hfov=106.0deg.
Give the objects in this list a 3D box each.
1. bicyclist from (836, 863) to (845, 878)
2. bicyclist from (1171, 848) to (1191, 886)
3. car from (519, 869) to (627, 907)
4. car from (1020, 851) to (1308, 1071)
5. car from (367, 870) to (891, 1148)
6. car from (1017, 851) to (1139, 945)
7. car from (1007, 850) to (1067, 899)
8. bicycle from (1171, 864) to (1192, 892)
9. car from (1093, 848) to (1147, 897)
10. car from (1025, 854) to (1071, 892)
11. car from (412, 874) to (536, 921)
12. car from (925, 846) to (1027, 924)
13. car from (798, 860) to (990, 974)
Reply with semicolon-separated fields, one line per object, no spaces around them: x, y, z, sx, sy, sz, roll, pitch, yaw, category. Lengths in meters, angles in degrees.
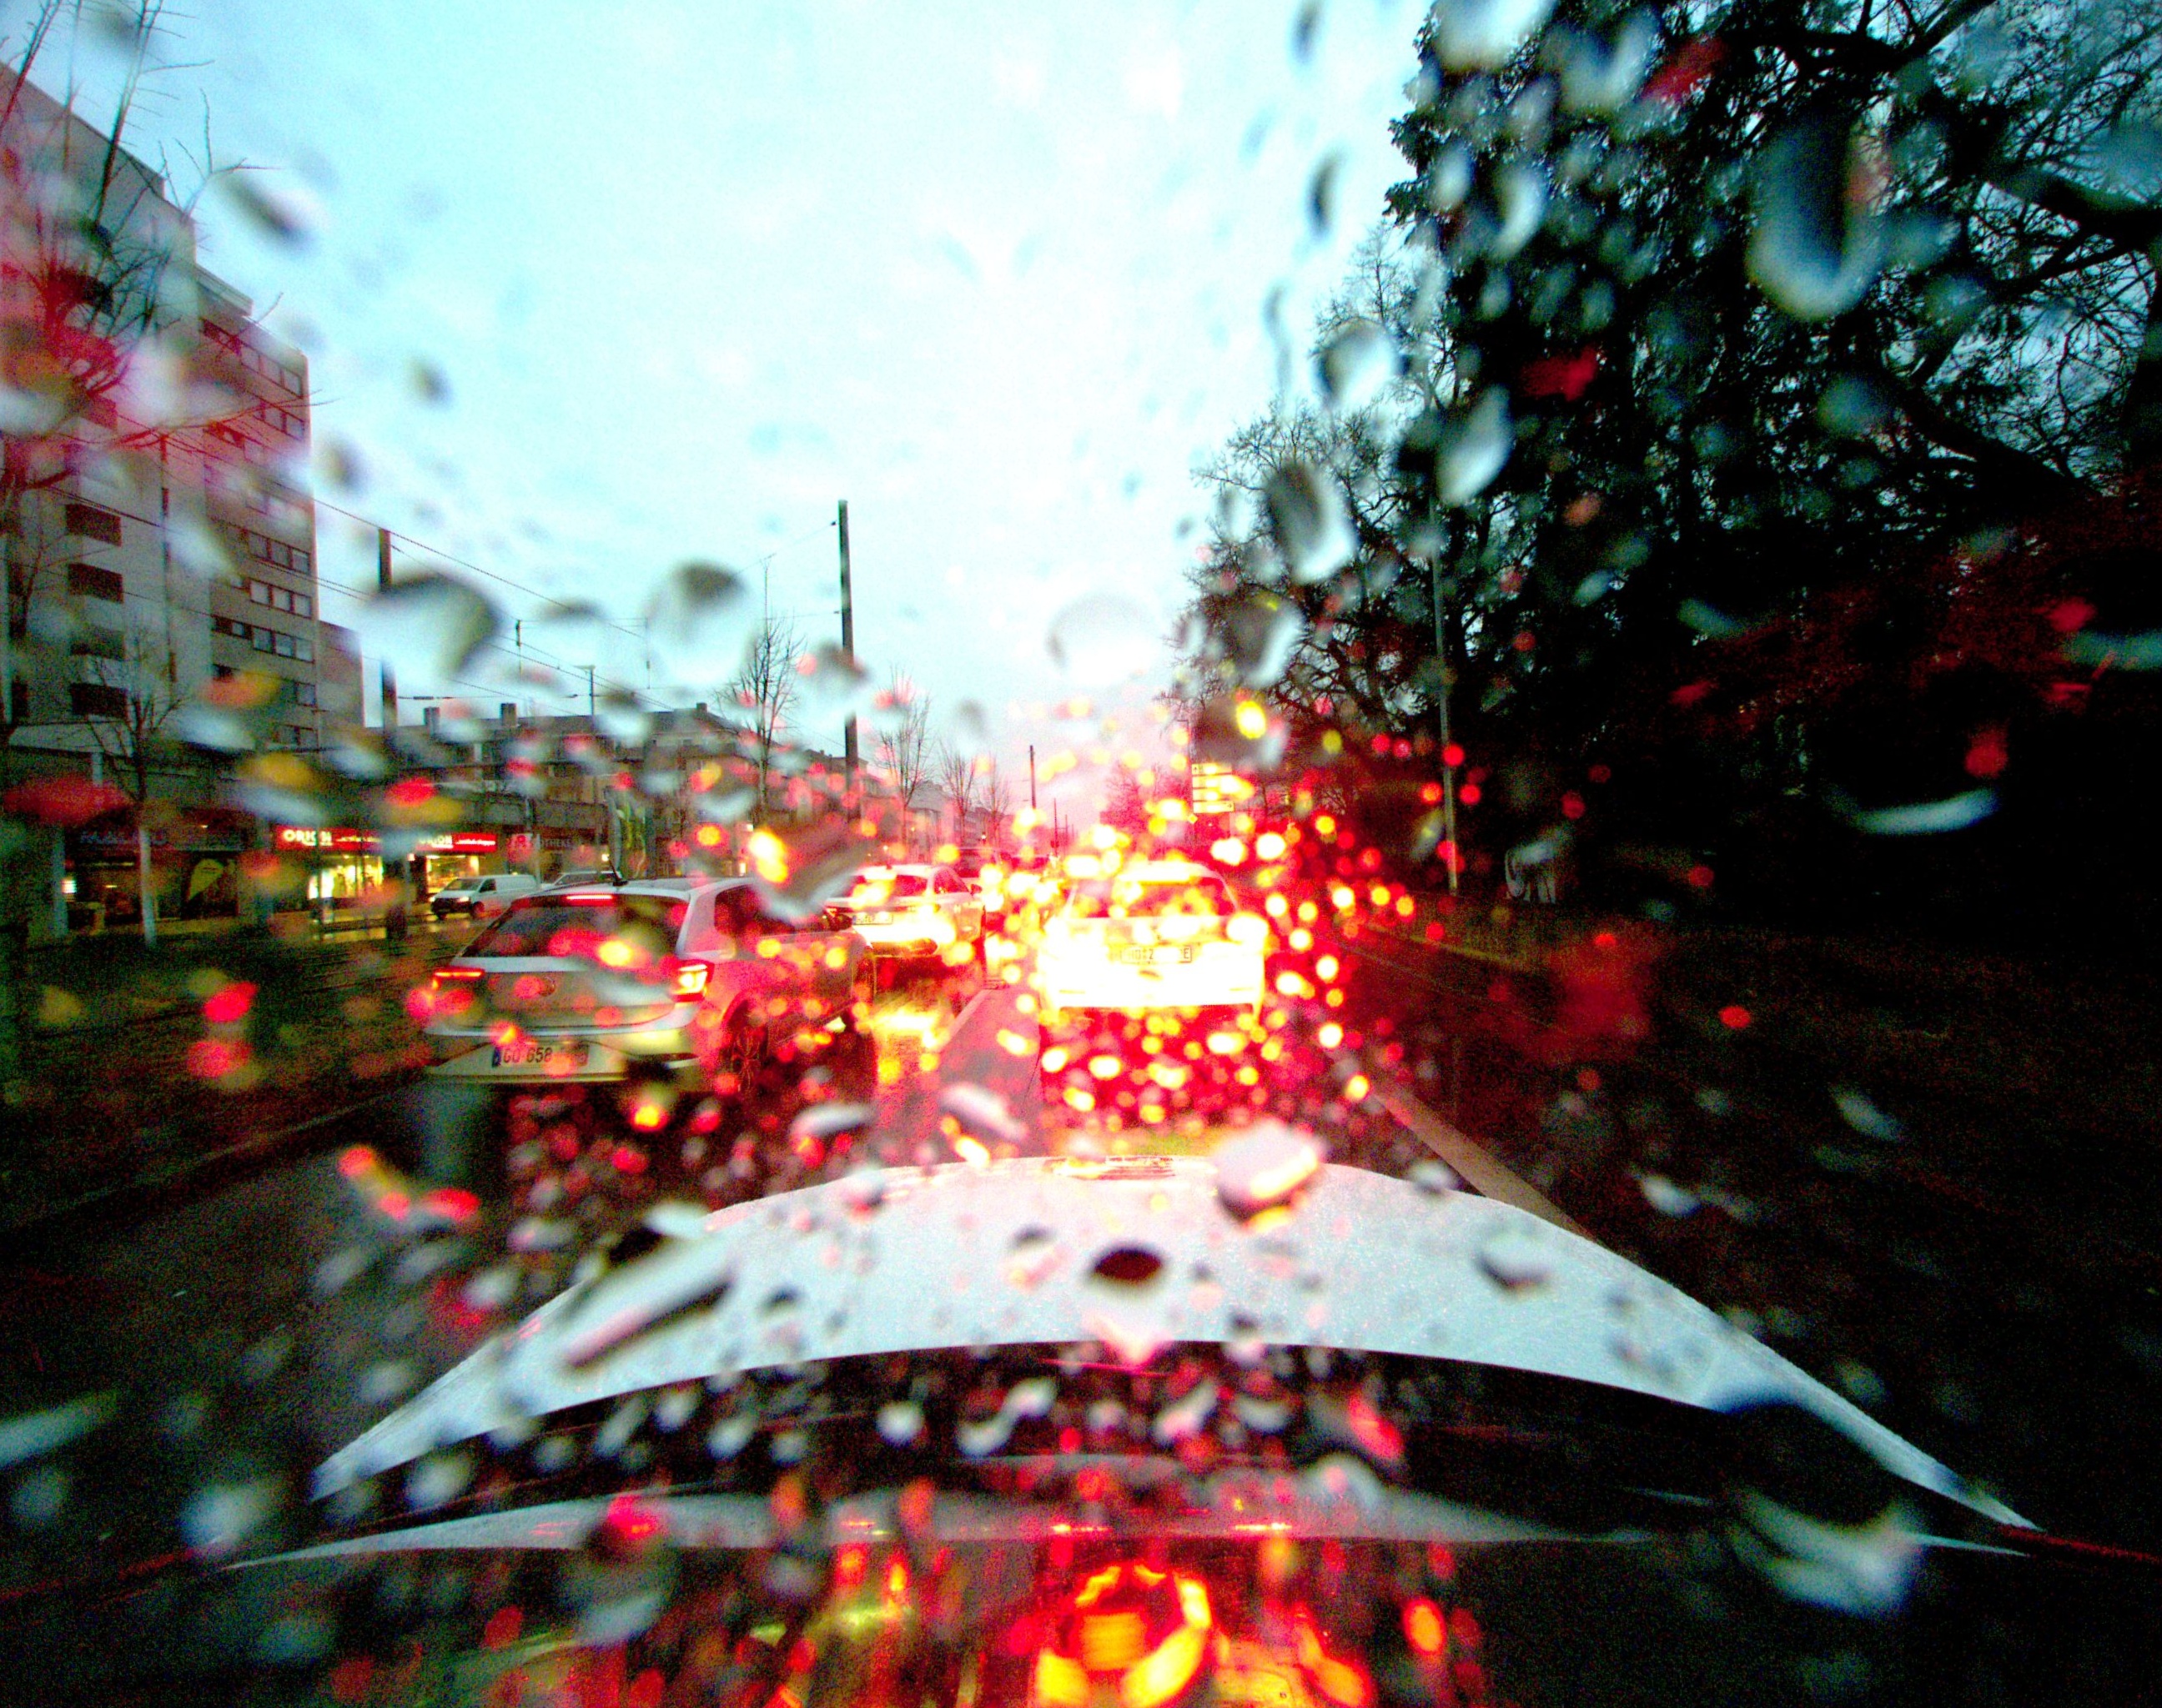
-26.060;1.754;88.227;0.793;1.579;0.631;-1;-1;-31;bicyclist
3.781;0.468;30.749;0.642;1.389;0.891;-2;0;4;bicyclist
-30.729;2.013;49.369;5.193;1.912;1.975;-3;0;-44;car
0.648;0.753;7.833;1.992;1.508;4.165;-1;0;2;car
-2.846;0.855;6.282;1.756;1.371;3.981;-1;0;1;car
0.024;0.704;15.188;1.928;1.457;4.165;-1;0;2;car
-1.554;0.691;30.012;1.800;1.646;4.002;-1;0;2;car
3.797;0.906;30.763;0.642;0.966;2.049;-2;0;4;bicycle
1.403;0.623;29.902;1.800;1.646;4.002;-1;0;2;car
-1.478;0.839;38.076;1.800;1.646;4.002;-1;0;2;car
-29.674;2.070;40.063;1.985;1.912;5.167;-3;0;3;car
-2.527;0.712;20.667;1.786;1.736;4.539;-1;0;2;car
-2.640;0.823;12.668;1.840;1.405;4.614;-1;0;1;car
